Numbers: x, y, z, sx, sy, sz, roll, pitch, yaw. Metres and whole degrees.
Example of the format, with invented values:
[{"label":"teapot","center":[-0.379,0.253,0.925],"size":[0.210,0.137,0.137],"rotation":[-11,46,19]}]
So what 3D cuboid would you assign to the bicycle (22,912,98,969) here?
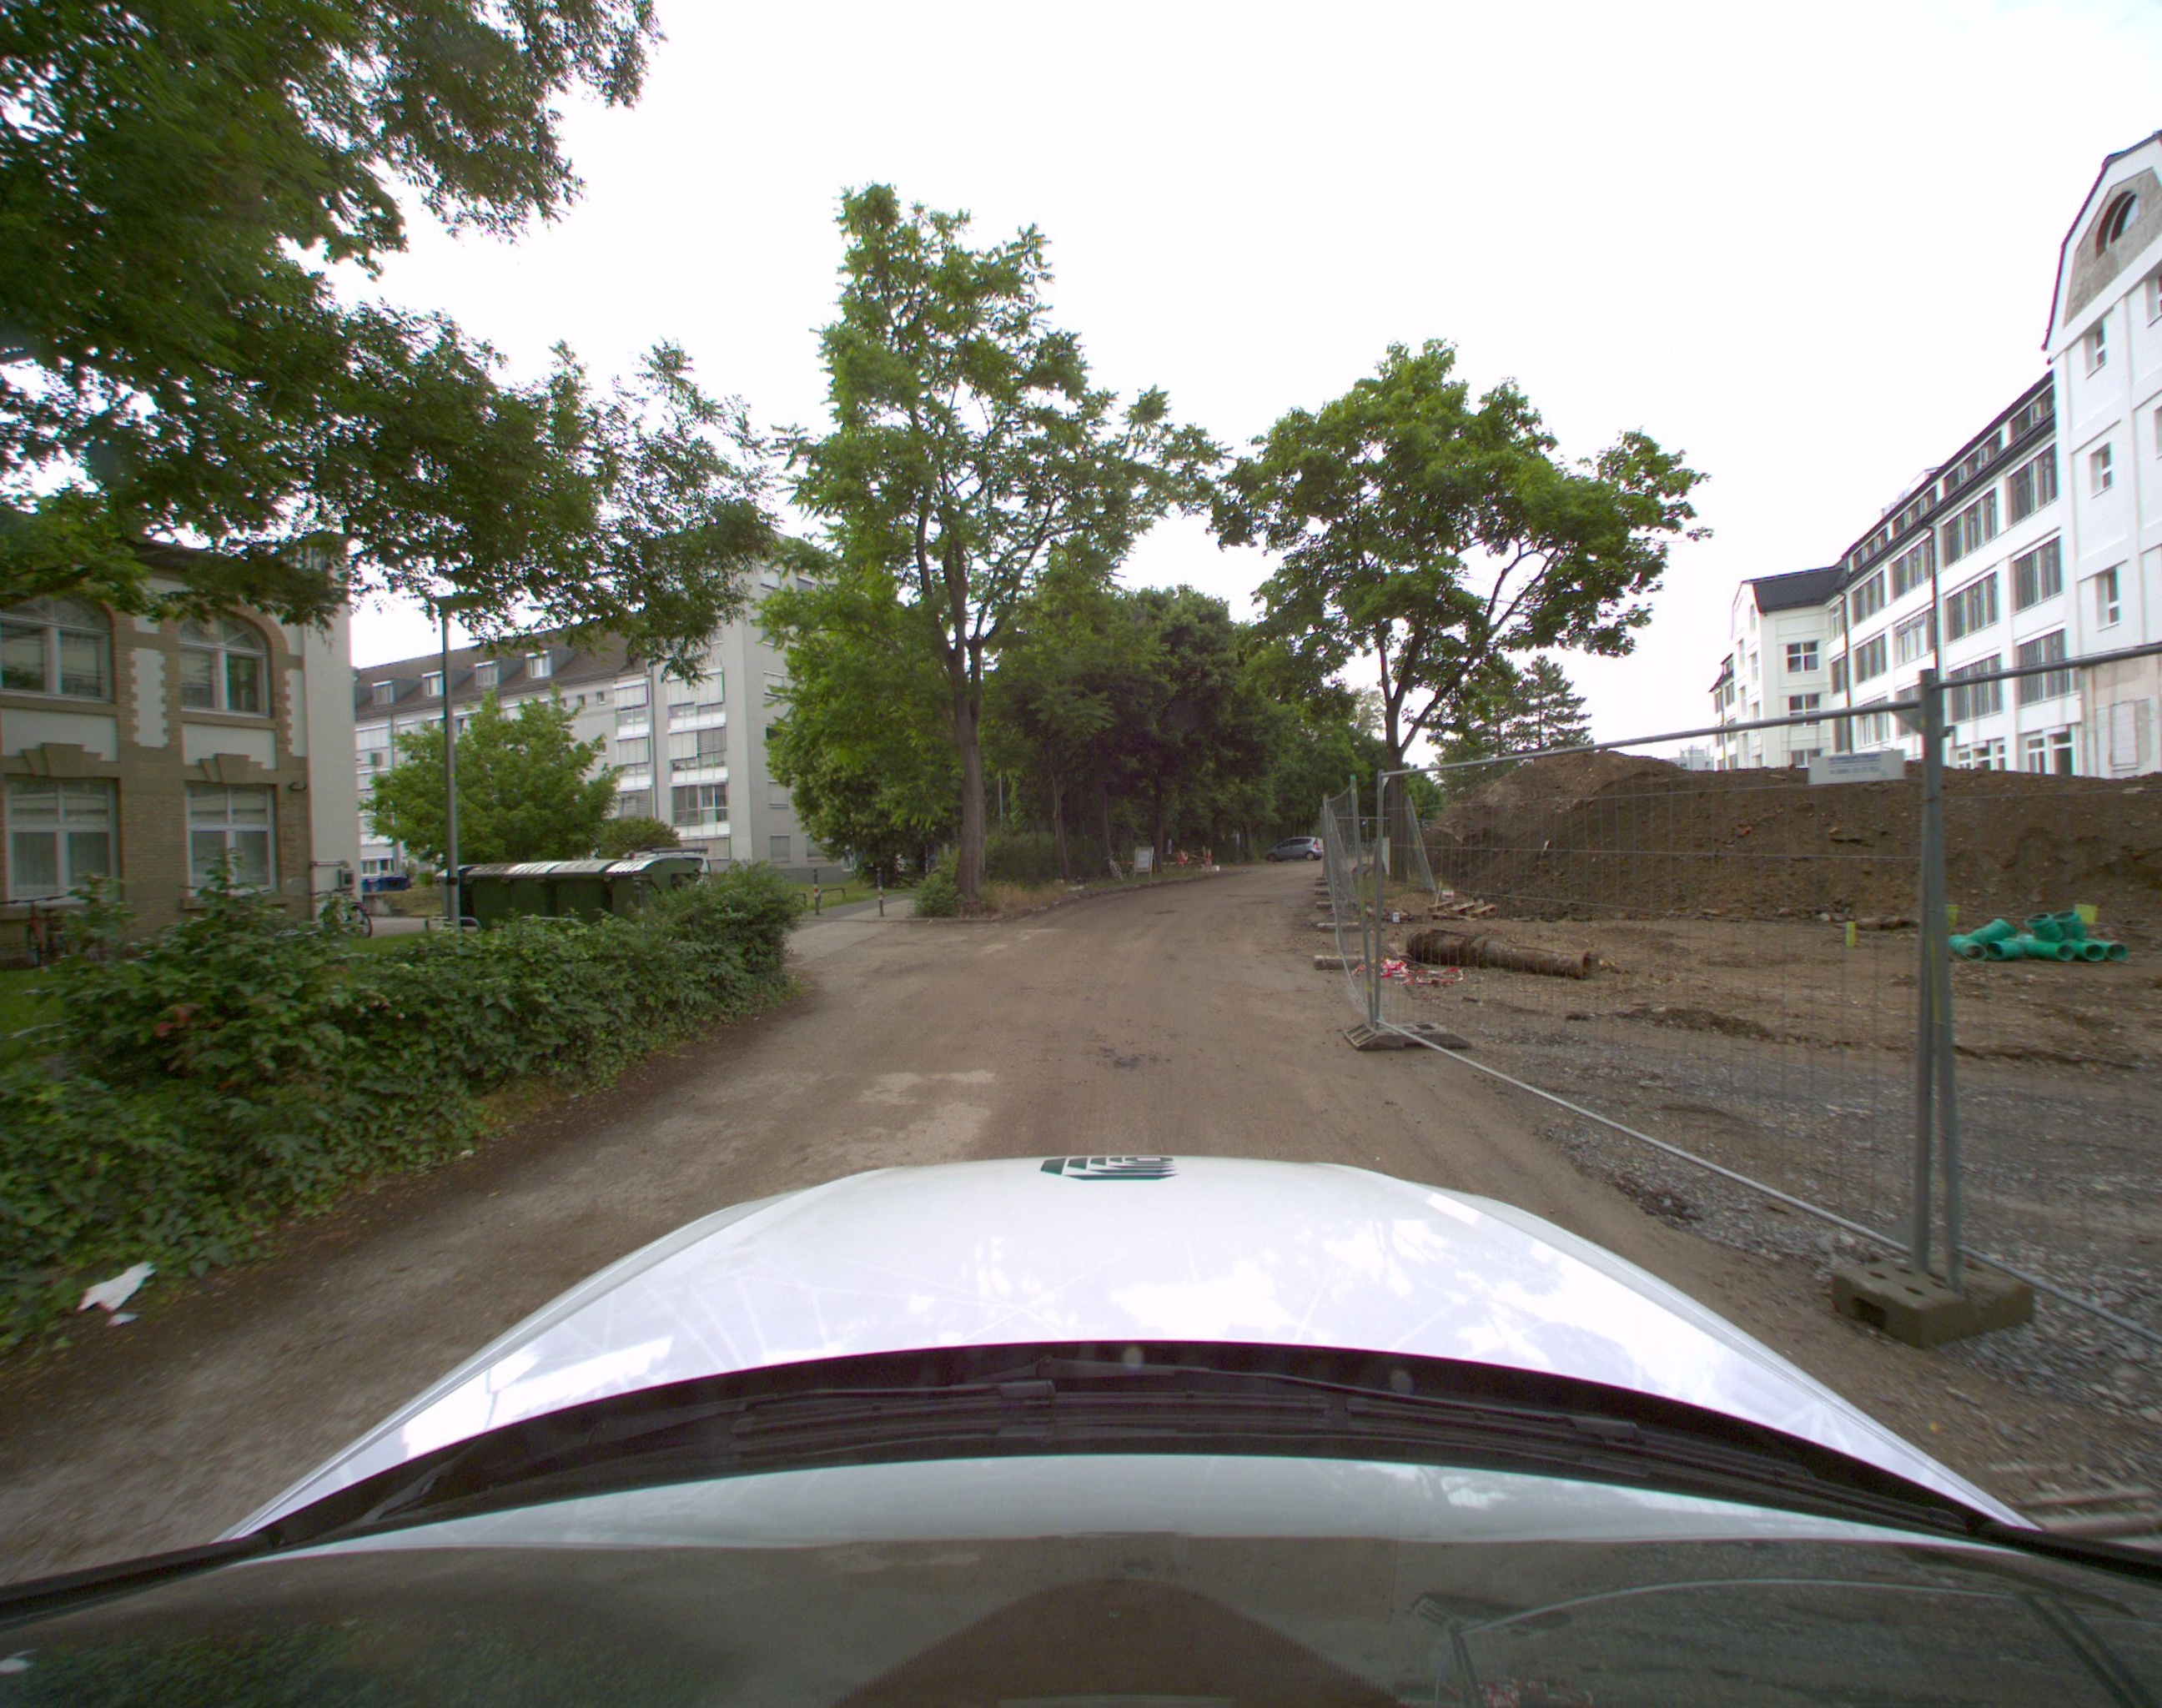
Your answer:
[{"label":"bicycle","center":[-17.021,1.408,13.565],"size":[1.919,0.813,0.623],"rotation":[-2,1,34]}]

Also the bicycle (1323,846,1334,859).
[{"label":"bicycle","center":[19.076,-0.143,62.716],"size":[0.765,0.978,2.041],"rotation":[-2,1,17]}]

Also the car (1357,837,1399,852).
[{"label":"car","center":[33.493,-1.049,91.755],"size":[3.977,1.508,1.998],"rotation":[-2,0,-3]}]

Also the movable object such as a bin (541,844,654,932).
[{"label":"movable object such as a bin","center":[-8.452,0.585,14.260],"size":[1.337,1.456,1.061],"rotation":[-2,0,23]}]

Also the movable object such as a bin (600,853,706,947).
[{"label":"movable object such as a bin","center":[-7.150,0.721,13.618],"size":[1.337,1.450,1.063],"rotation":[0,1,36]}]

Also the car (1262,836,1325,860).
[{"label":"car","center":[14.156,-0.404,54.220],"size":[3.663,1.500,1.880],"rotation":[-2,1,31]}]

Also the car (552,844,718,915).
[{"label":"car","center":[-14.143,0.760,26.152],"size":[1.831,2.013,4.376],"rotation":[-3,-1,24]}]

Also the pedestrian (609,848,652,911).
[{"label":"pedestrian","center":[-13.396,0.749,24.222],"size":[0.690,1.808,0.761],"rotation":[-4,0,24]}]

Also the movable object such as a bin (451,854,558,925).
[{"label":"movable object such as a bin","center":[-11.054,0.672,15.637],"size":[1.338,1.264,1.061],"rotation":[-2,0,19]}]

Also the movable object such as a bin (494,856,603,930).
[{"label":"movable object such as a bin","center":[-9.758,0.705,14.940],"size":[1.337,1.264,1.062],"rotation":[-2,0,23]}]

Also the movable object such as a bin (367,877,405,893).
[{"label":"movable object such as a bin","center":[-29.898,1.324,35.033],"size":[0.899,0.636,0.974],"rotation":[-3,-1,30]}]

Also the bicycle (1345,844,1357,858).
[{"label":"bicycle","center":[20.656,-0.226,62.280],"size":[0.765,0.978,2.041],"rotation":[-2,1,17]}]

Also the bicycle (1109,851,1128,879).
[{"label":"bicycle","center":[1.283,0.360,27.535],"size":[0.416,0.905,1.158],"rotation":[-2,1,12]}]

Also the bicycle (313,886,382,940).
[{"label":"bicycle","center":[-15.278,1.212,16.952],"size":[1.805,1.065,0.398],"rotation":[-2,0,26]}]
